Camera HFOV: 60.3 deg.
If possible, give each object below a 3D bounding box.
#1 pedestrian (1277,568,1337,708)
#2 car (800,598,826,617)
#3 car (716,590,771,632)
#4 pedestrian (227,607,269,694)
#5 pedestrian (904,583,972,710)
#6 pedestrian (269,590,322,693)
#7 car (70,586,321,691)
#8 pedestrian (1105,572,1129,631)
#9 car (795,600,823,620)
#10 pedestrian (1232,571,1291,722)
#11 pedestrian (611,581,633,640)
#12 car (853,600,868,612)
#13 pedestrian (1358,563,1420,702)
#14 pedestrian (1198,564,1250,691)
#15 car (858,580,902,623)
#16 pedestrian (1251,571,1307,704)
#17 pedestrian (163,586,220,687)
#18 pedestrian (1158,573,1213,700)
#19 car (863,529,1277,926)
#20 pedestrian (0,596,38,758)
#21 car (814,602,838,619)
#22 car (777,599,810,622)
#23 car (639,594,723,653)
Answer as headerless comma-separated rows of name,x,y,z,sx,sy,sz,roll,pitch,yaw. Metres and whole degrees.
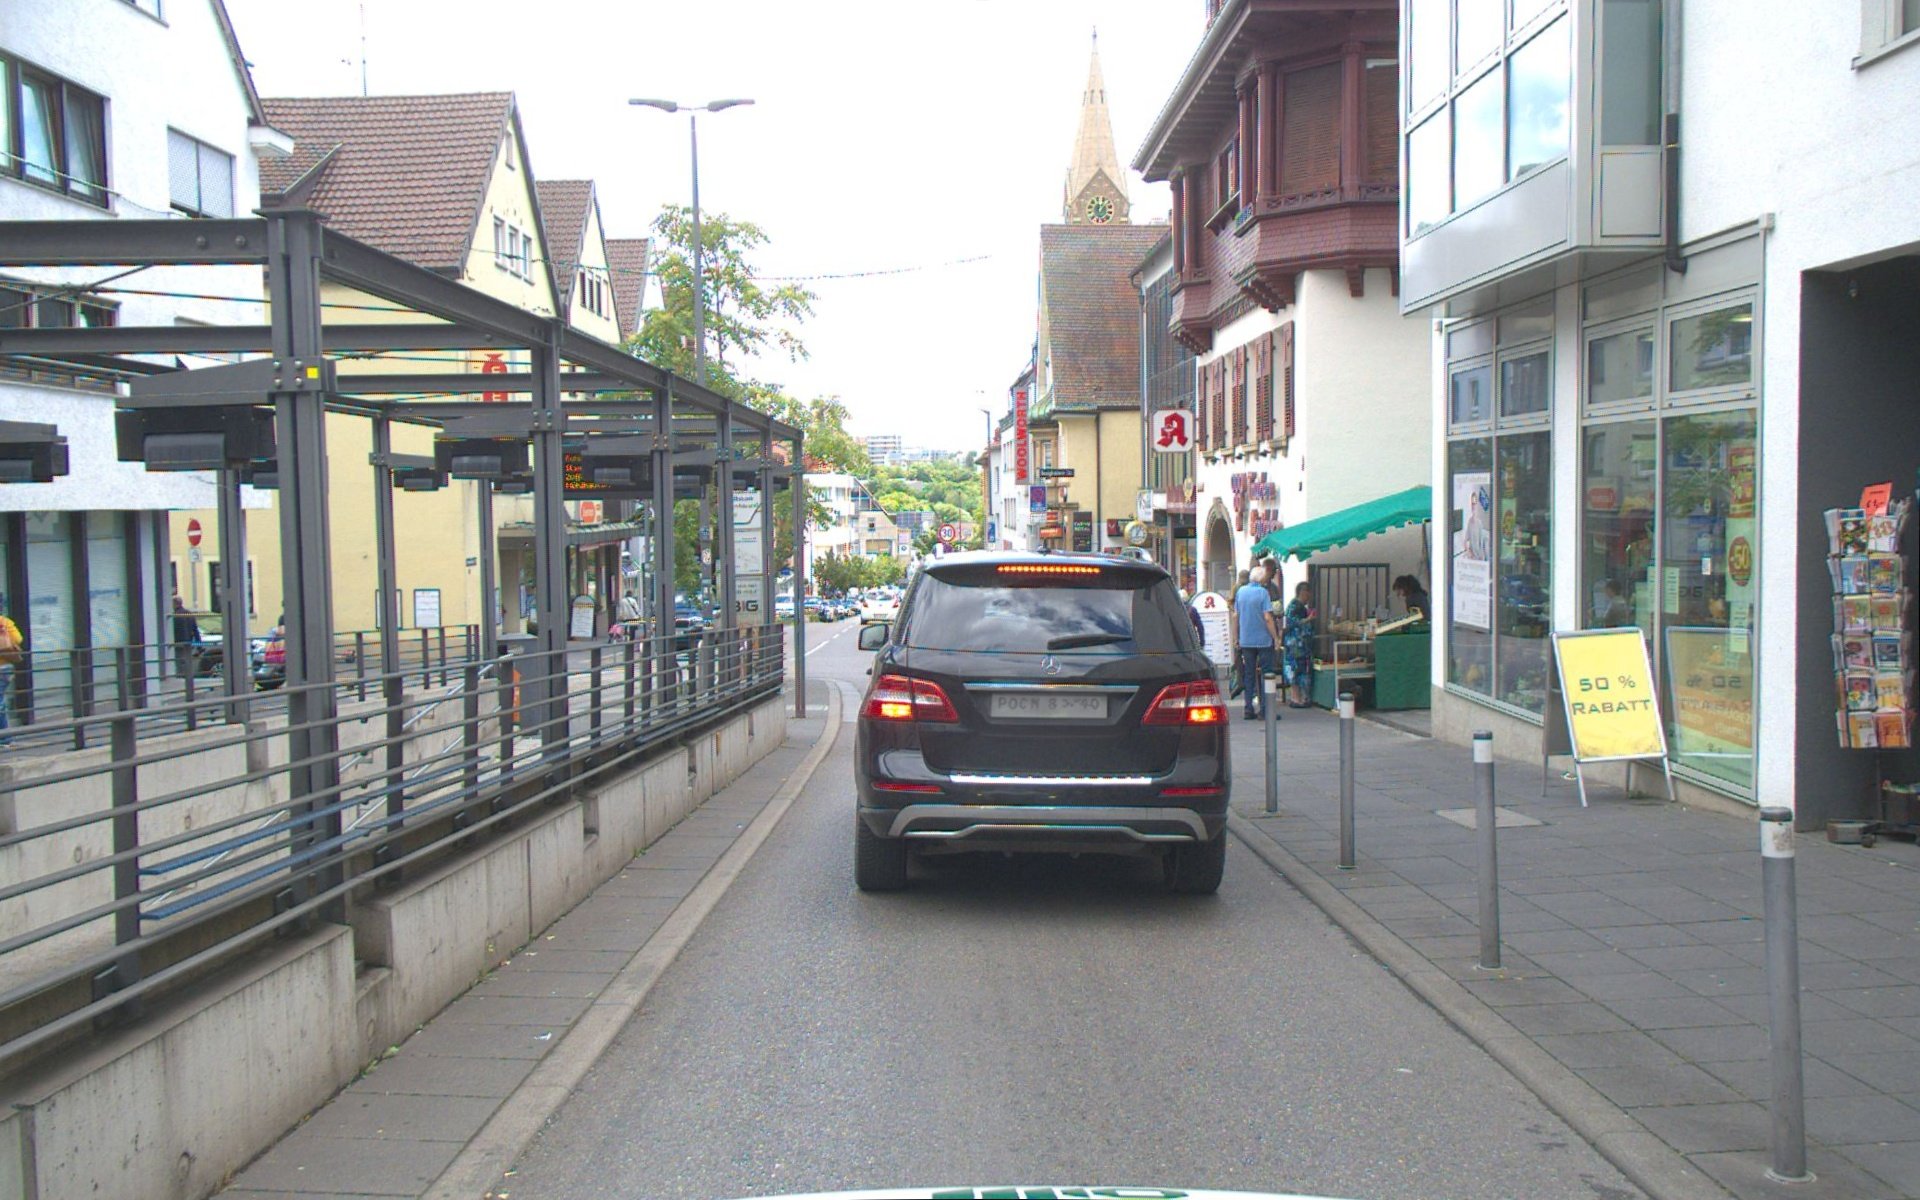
pedestrian,4.344,0.465,20.735,0.562,1.718,0.565,-1,0,-7
car,-9.125,0.468,102.940,1.360,1.089,3.112,-1,0,0
car,-8.231,0.384,63.106,1.626,1.516,3.747,1,0,0
pedestrian,-12.066,0.847,28.046,0.447,1.446,0.533,1,0,2
pedestrian,-0.297,0.627,22.905,0.749,1.718,0.728,1,0,15
pedestrian,-11.281,0.699,28.087,0.613,1.718,0.679,1,0,-1
car,-14.837,0.712,32.163,4.091,1.761,1.836,3,1,12
pedestrian,4.662,0.049,49.137,0.594,1.718,0.724,-1,0,-1
car,-8.894,0.587,97.577,1.360,1.089,3.112,-1,0,0
pedestrian,3.554,0.539,19.537,0.531,1.756,0.527,-1,0,-7
pedestrian,-9.850,0.298,48.206,0.502,1.718,0.541,1,0,-1
car,-9.890,0.601,164.717,1.360,1.089,3.112,-1,0,0
pedestrian,5.417,0.406,20.890,0.562,1.718,0.565,-1,0,-7
pedestrian,3.906,0.404,24.529,0.626,1.841,0.684,1,0,-2
car,-3.403,0.041,71.007,1.734,1.743,3.999,1,0,-1
pedestrian,4.195,0.485,21.785,0.562,1.718,0.565,1,0,-7
pedestrian,-13.293,0.616,28.622,0.639,1.718,0.730,1,0,-3
pedestrian,3.085,0.492,22.650,0.609,1.718,0.565,1,0,-7
car,0.431,0.574,9.528,1.862,1.777,3.998,1,0,-2
pedestrian,-10.451,0.815,17.918,0.566,1.718,0.576,1,0,-1
car,-8.988,0.687,110.937,1.360,1.089,3.112,-1,0,0
car,-8.605,0.531,85.608,1.360,1.089,3.112,-1,0,0
car,-7.692,0.606,45.917,1.655,1.516,3.979,2,0,0
